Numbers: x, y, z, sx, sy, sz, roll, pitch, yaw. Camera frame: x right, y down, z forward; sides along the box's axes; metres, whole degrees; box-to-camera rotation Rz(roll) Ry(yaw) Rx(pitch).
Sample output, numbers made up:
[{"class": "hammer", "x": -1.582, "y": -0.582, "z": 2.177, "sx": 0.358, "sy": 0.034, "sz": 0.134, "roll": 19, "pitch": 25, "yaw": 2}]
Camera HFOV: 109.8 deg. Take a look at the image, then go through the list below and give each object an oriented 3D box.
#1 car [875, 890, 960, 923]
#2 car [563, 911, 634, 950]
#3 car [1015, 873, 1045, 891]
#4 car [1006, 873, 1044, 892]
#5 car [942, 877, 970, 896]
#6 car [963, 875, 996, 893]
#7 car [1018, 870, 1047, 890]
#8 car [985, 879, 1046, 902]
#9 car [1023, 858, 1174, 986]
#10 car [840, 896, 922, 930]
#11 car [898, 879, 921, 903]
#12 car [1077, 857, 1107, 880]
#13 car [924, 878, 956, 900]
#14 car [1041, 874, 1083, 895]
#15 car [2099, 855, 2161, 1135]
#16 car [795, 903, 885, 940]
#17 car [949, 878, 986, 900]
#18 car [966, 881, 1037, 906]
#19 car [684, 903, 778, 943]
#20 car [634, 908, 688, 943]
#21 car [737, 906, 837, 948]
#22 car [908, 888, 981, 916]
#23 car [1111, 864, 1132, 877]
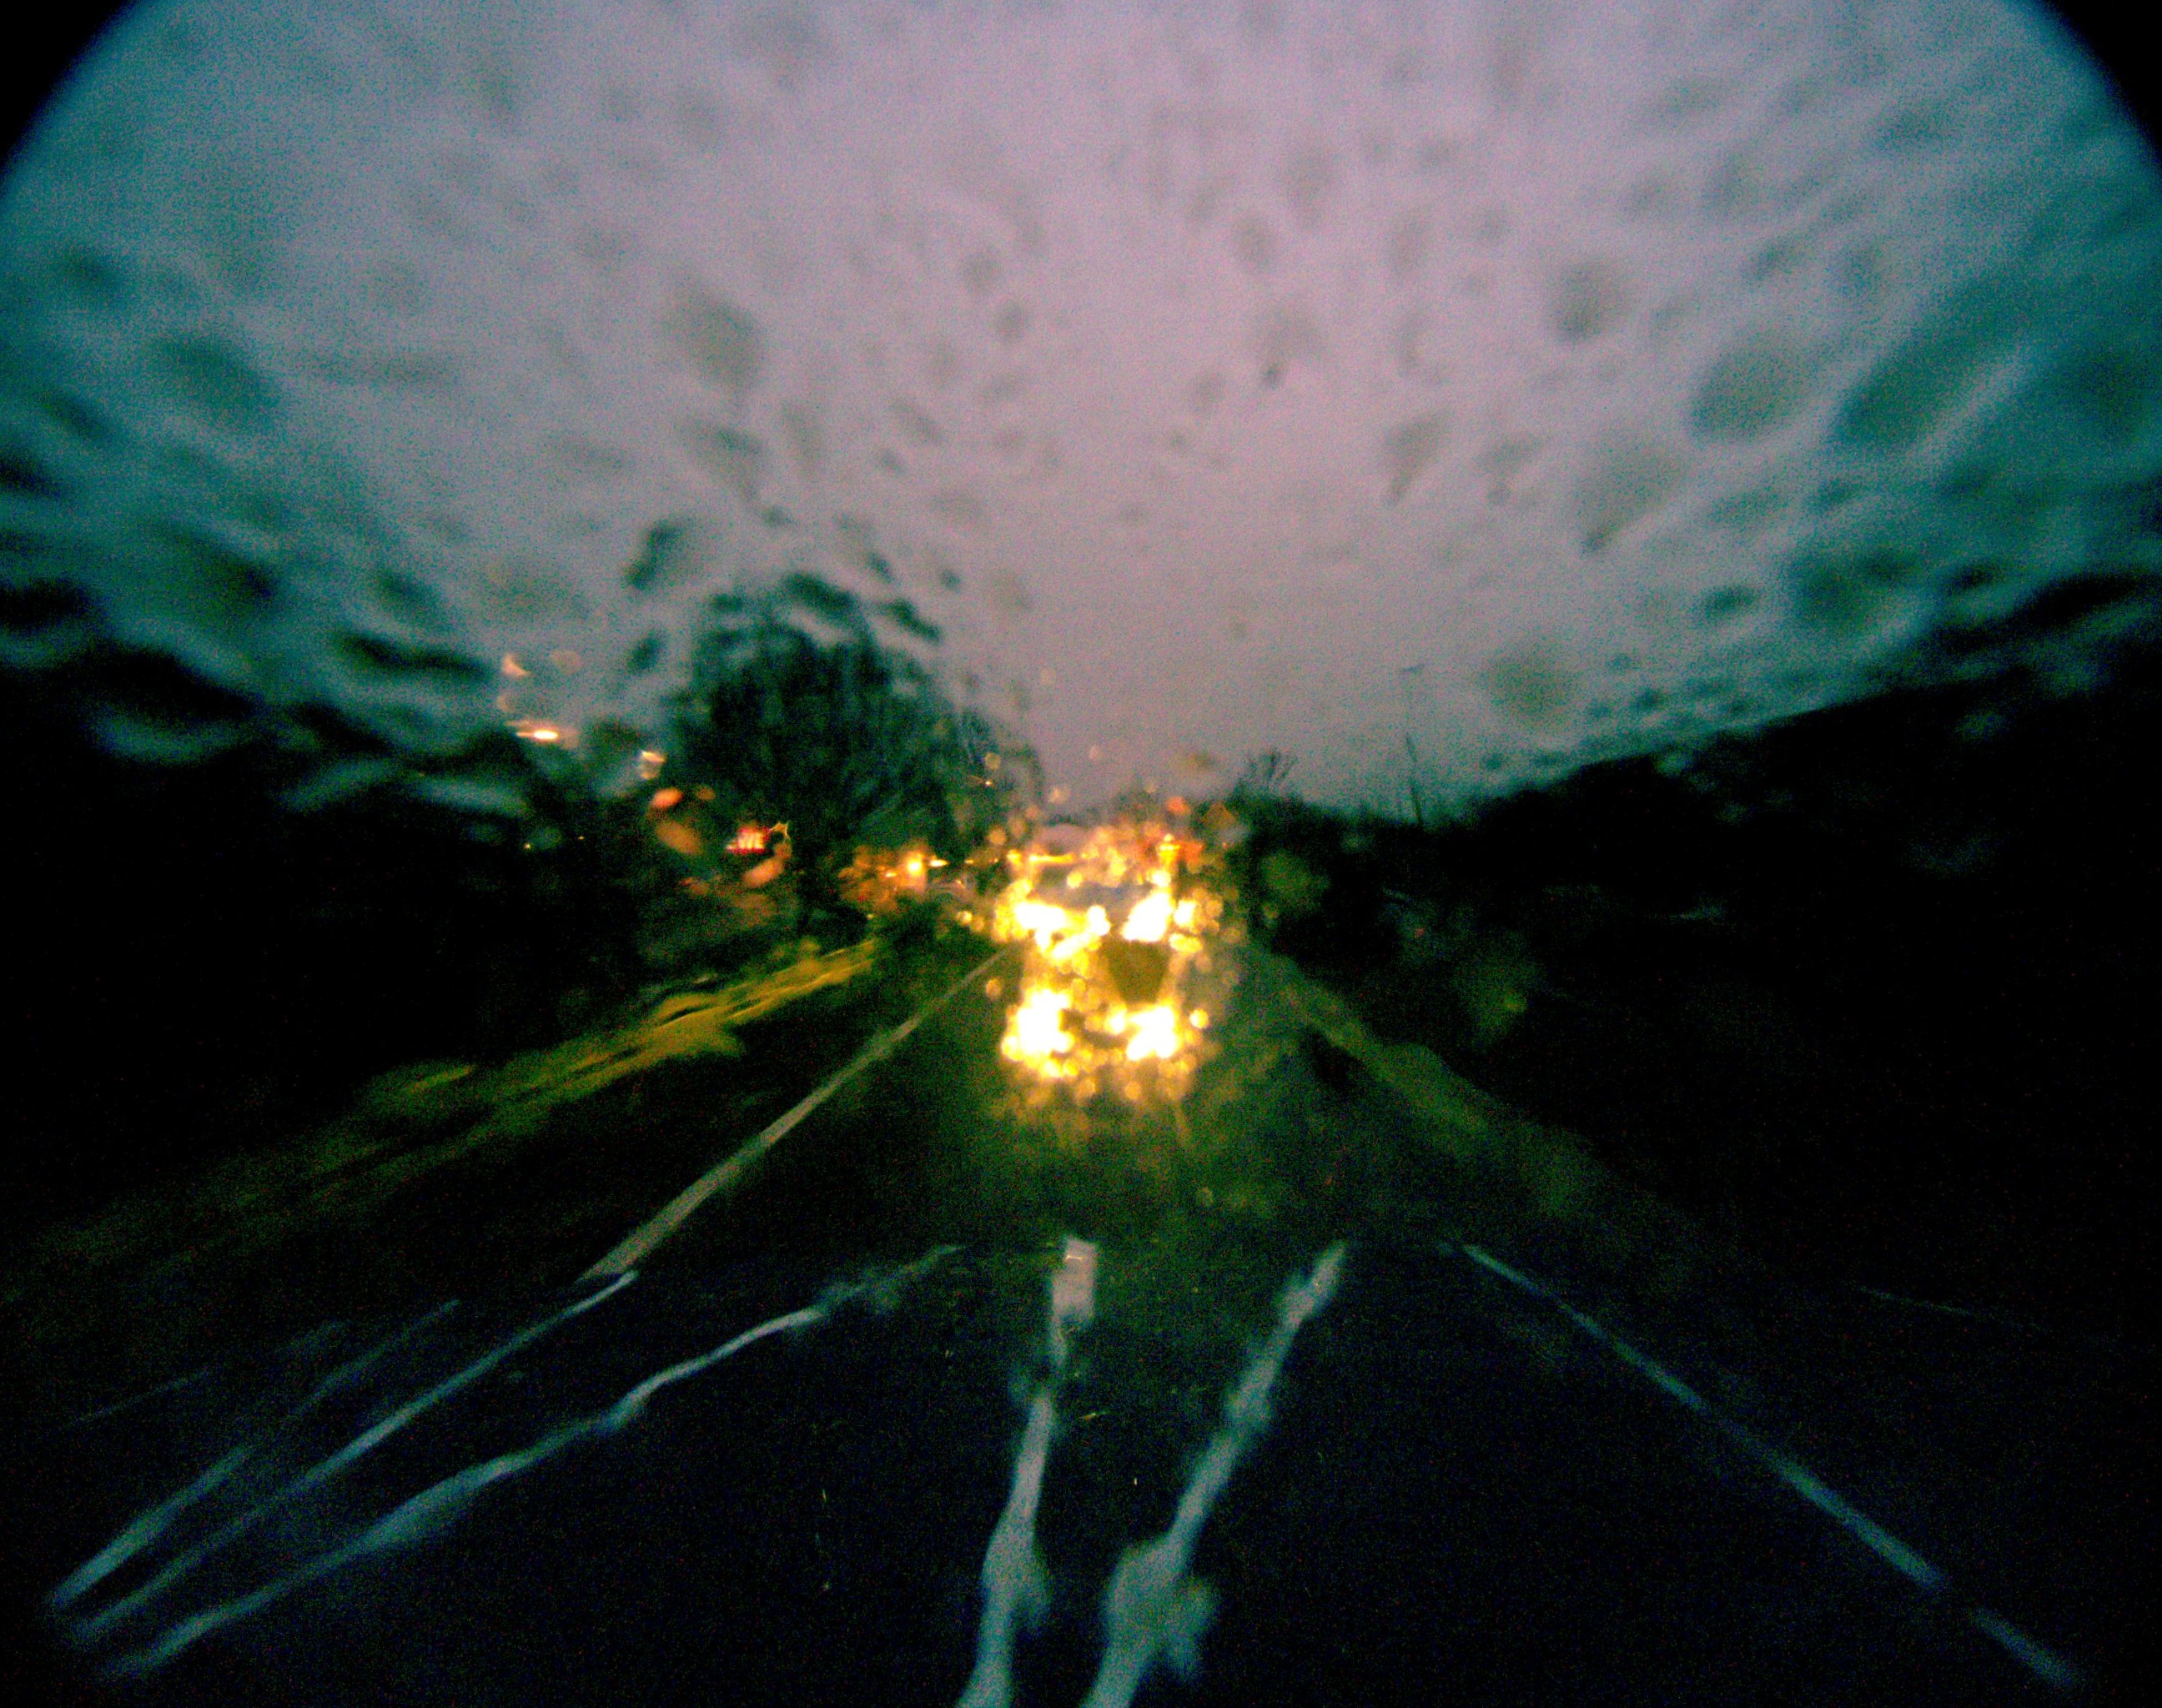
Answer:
[{"class": "car", "x": -9.332, "y": 2.961, "z": 43.304, "sx": 4.590, "sy": 1.447, "sz": 1.928, "roll": -3, "pitch": 1, "yaw": -15}, {"class": "car", "x": -23.207, "y": 3.653, "z": 36.691, "sx": 1.569, "sy": 1.421, "sz": 3.757, "roll": -2, "pitch": 0, "yaw": -12}, {"class": "car", "x": -5.000, "y": 2.711, "z": 74.085, "sx": 1.722, "sy": 1.508, "sz": 3.251, "roll": -4, "pitch": 0, "yaw": -26}, {"class": "car", "x": -5.164, "y": 2.603, "z": 69.935, "sx": 3.258, "sy": 1.526, "sz": 1.391, "roll": -4, "pitch": 0, "yaw": -12}, {"class": "car", "x": -11.488, "y": 2.976, "z": 69.543, "sx": 1.729, "sy": 1.493, "sz": 4.019, "roll": -2, "pitch": 0, "yaw": -20}, {"class": "car", "x": -9.768, "y": 2.830, "z": 72.869, "sx": 1.804, "sy": 1.586, "sz": 3.971, "roll": -2, "pitch": 0, "yaw": -28}, {"class": "car", "x": -5.342, "y": 2.824, "z": 82.287, "sx": 1.889, "sy": 1.946, "sz": 4.953, "roll": -4, "pitch": 0, "yaw": -18}, {"class": "car", "x": -4.785, "y": 2.639, "z": 55.700, "sx": 4.182, "sy": 1.389, "sz": 1.849, "roll": -2, "pitch": 1, "yaw": -14}, {"class": "car", "x": 0.336, "y": 0.876, "z": 11.745, "sx": 1.809, "sy": 1.452, "sz": 4.246, "roll": -4, "pitch": 0, "yaw": 3}, {"class": "car", "x": -10.543, "y": 3.065, "z": 40.015, "sx": 4.003, "sy": 1.412, "sz": 1.629, "roll": -2, "pitch": 1, "yaw": -20}, {"class": "car", "x": -13.059, "y": 2.766, "z": 57.936, "sx": 1.600, "sy": 1.576, "sz": 3.628, "roll": -3, "pitch": 0, "yaw": -13}, {"class": "car", "x": 1.201, "y": 1.621, "z": 86.403, "sx": 2.281, "sy": 2.426, "sz": 5.234, "roll": -2, "pitch": 1, "yaw": -12}, {"class": "car", "x": -11.323, "y": 2.772, "z": 60.739, "sx": 1.807, "sy": 1.526, "sz": 4.536, "roll": -3, "pitch": 0, "yaw": -18}, {"class": "car", "x": -1.513, "y": 2.424, "z": 61.620, "sx": 1.769, "sy": 1.421, "sz": 3.817, "roll": -2, "pitch": 1, "yaw": 25}, {"class": "car", "x": 6.414, "y": 0.722, "z": 2.350, "sx": 1.611, "sy": 1.461, "sz": 3.685, "roll": -2, "pitch": 0, "yaw": 1}, {"class": "car", "x": -11.696, "y": 3.258, "z": 36.917, "sx": 4.003, "sy": 1.412, "sz": 1.629, "roll": -2, "pitch": 1, "yaw": -20}, {"class": "car", "x": -9.622, "y": 2.947, "z": 64.171, "sx": 1.828, "sy": 1.629, "sz": 4.462, "roll": -3, "pitch": -1, "yaw": -24}, {"class": "car", "x": -5.551, "y": 2.728, "z": 52.991, "sx": 4.706, "sy": 1.389, "sz": 1.902, "roll": -2, "pitch": 1, "yaw": -14}, {"class": "car", "x": -17.504, "y": 3.409, "z": 38.201, "sx": 1.719, "sy": 1.592, "sz": 4.042, "roll": -2, "pitch": 0, "yaw": 25}, {"class": "car", "x": -21.632, "y": 3.638, "z": 39.263, "sx": 1.570, "sy": 1.421, "sz": 3.756, "roll": -2, "pitch": 0, "yaw": -16}, {"class": "car", "x": -13.088, "y": 3.213, "z": 33.953, "sx": 4.003, "sy": 1.431, "sz": 1.794, "roll": -2, "pitch": 1, "yaw": -20}, {"class": "car", "x": -8.384, "y": 2.904, "z": 46.685, "sx": 4.182, "sy": 1.389, "sz": 1.901, "roll": -2, "pitch": 1, "yaw": -16}, {"class": "car", "x": 4.866, "y": 1.933, "z": 92.567, "sx": 1.715, "sy": 1.404, "sz": 4.010, "roll": -2, "pitch": 1, "yaw": -9}]
